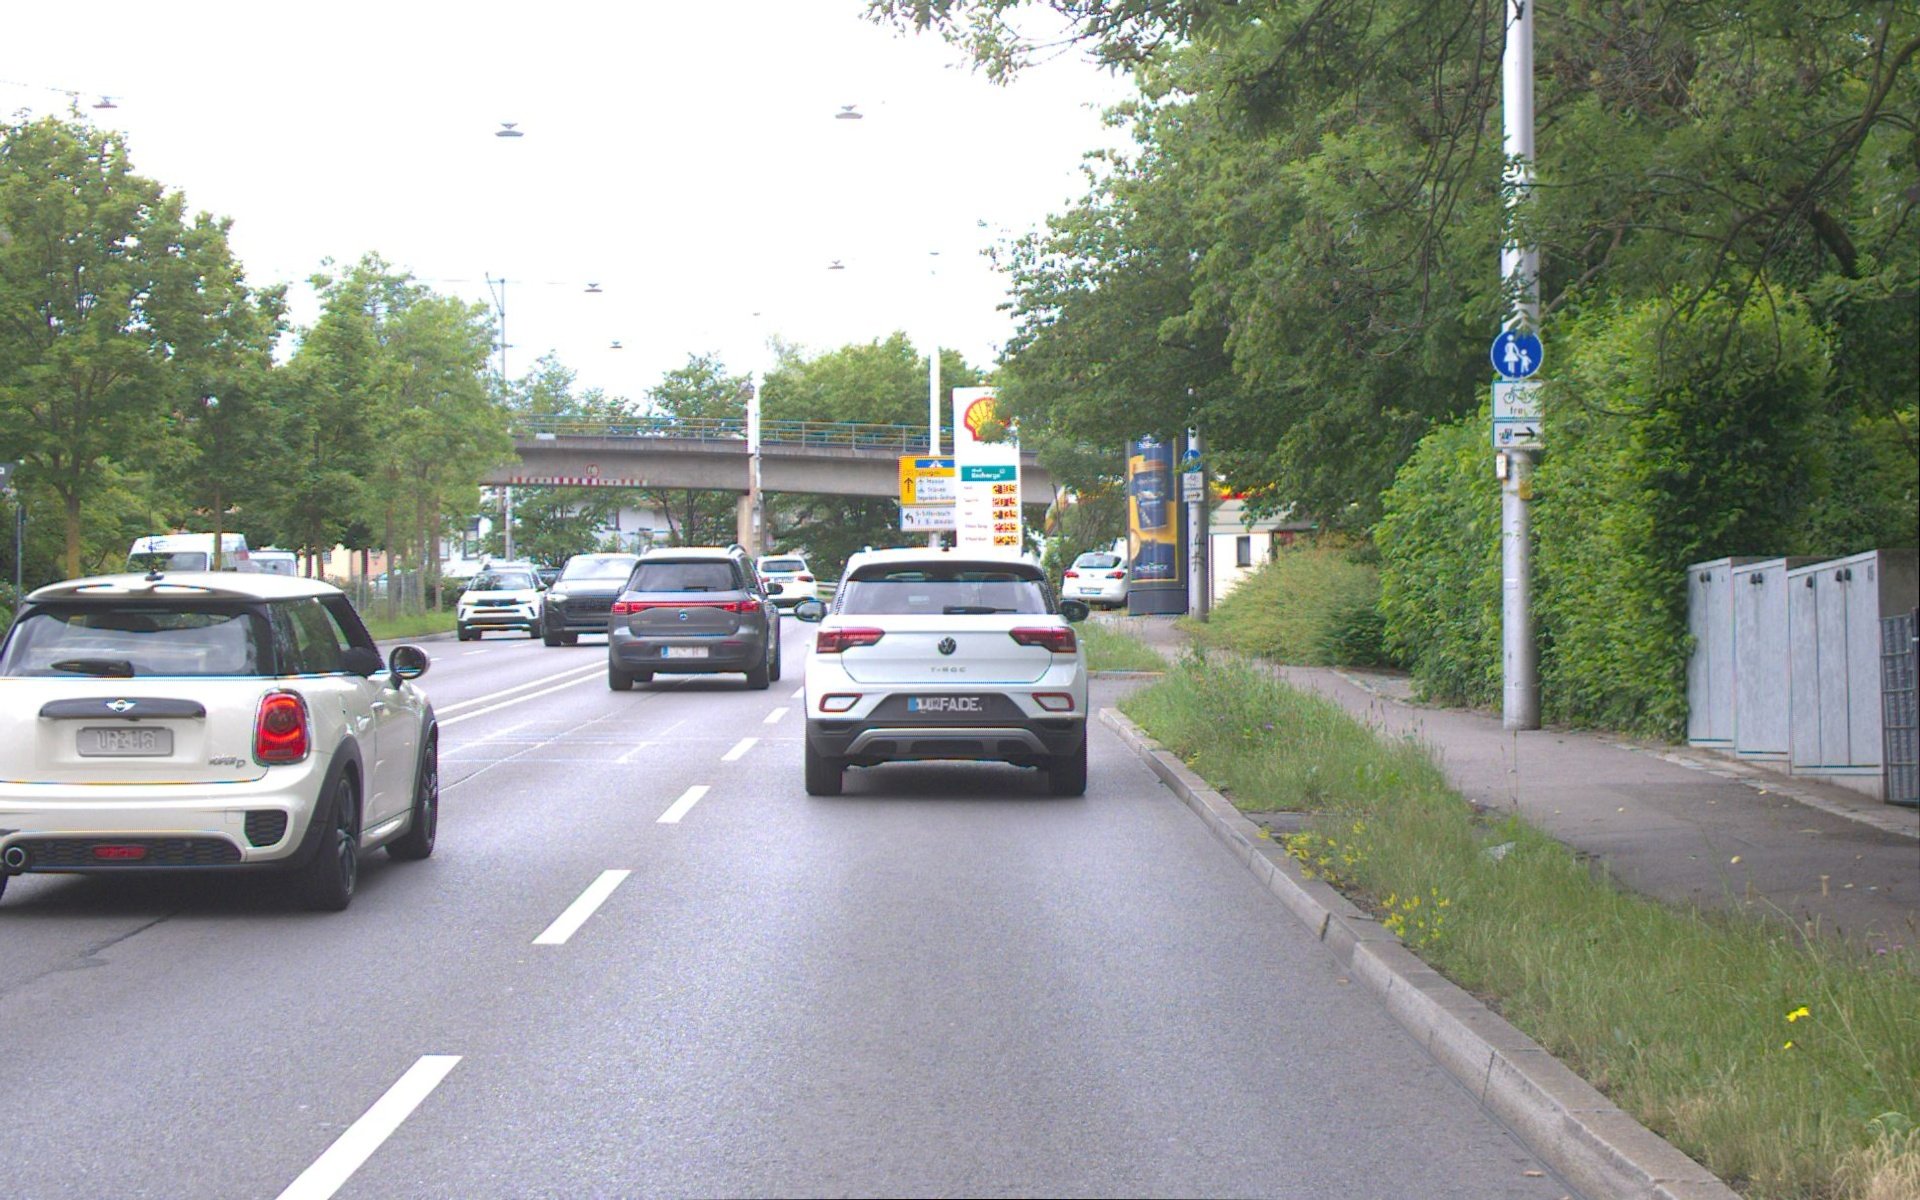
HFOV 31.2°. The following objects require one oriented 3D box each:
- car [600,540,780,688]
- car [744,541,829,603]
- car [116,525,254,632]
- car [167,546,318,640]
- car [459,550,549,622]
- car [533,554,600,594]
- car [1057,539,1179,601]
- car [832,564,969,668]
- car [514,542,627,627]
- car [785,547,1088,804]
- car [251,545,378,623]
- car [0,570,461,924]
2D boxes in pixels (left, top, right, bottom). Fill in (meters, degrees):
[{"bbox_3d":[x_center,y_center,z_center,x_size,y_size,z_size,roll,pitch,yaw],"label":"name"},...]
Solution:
[{"bbox_3d":[-3.145,0.121,40.863,1.813,1.646,4.636,0,1,-1],"label":"car"},{"bbox_3d":[-4.822,-0.789,95.000,1.857,1.646,4.637,-1,1,-9],"label":"car"},{"bbox_3d":[-17.106,-0.490,76.157,2.068,2.298,5.466,0,1,-3],"label":"car"},{"bbox_3d":[-13.118,-0.153,63.127,2.068,1.651,4.693,0,1,-4],"label":"car"},{"bbox_3d":[-9.960,-0.325,75.331,1.895,1.536,4.694,0,1,-7],"label":"car"},{"bbox_3d":[-15.195,-1.016,132.561,1.895,1.536,4.694,0,1,-15],"label":"car"},{"bbox_3d":[3.918,-0.759,84.748,1.860,1.495,4.051,0,1,20],"label":"car"},{"bbox_3d":[-0.992,0.255,54.687,1.873,1.496,4.555,3,0,-4],"label":"car"},{"bbox_3d":[-7.292,-0.303,64.770,1.895,1.536,4.693,0,1,-4],"label":"car"},{"bbox_3d":[-0.162,0.430,22.558,1.811,1.534,3.690,0,1,-1],"label":"car"},{"bbox_3d":[-13.470,-0.349,71.940,2.068,1.574,4.693,0,1,-4],"label":"car"},{"bbox_3d":[-3.377,0.577,15.557,1.628,1.388,3.566,0,1,1],"label":"car"}]
